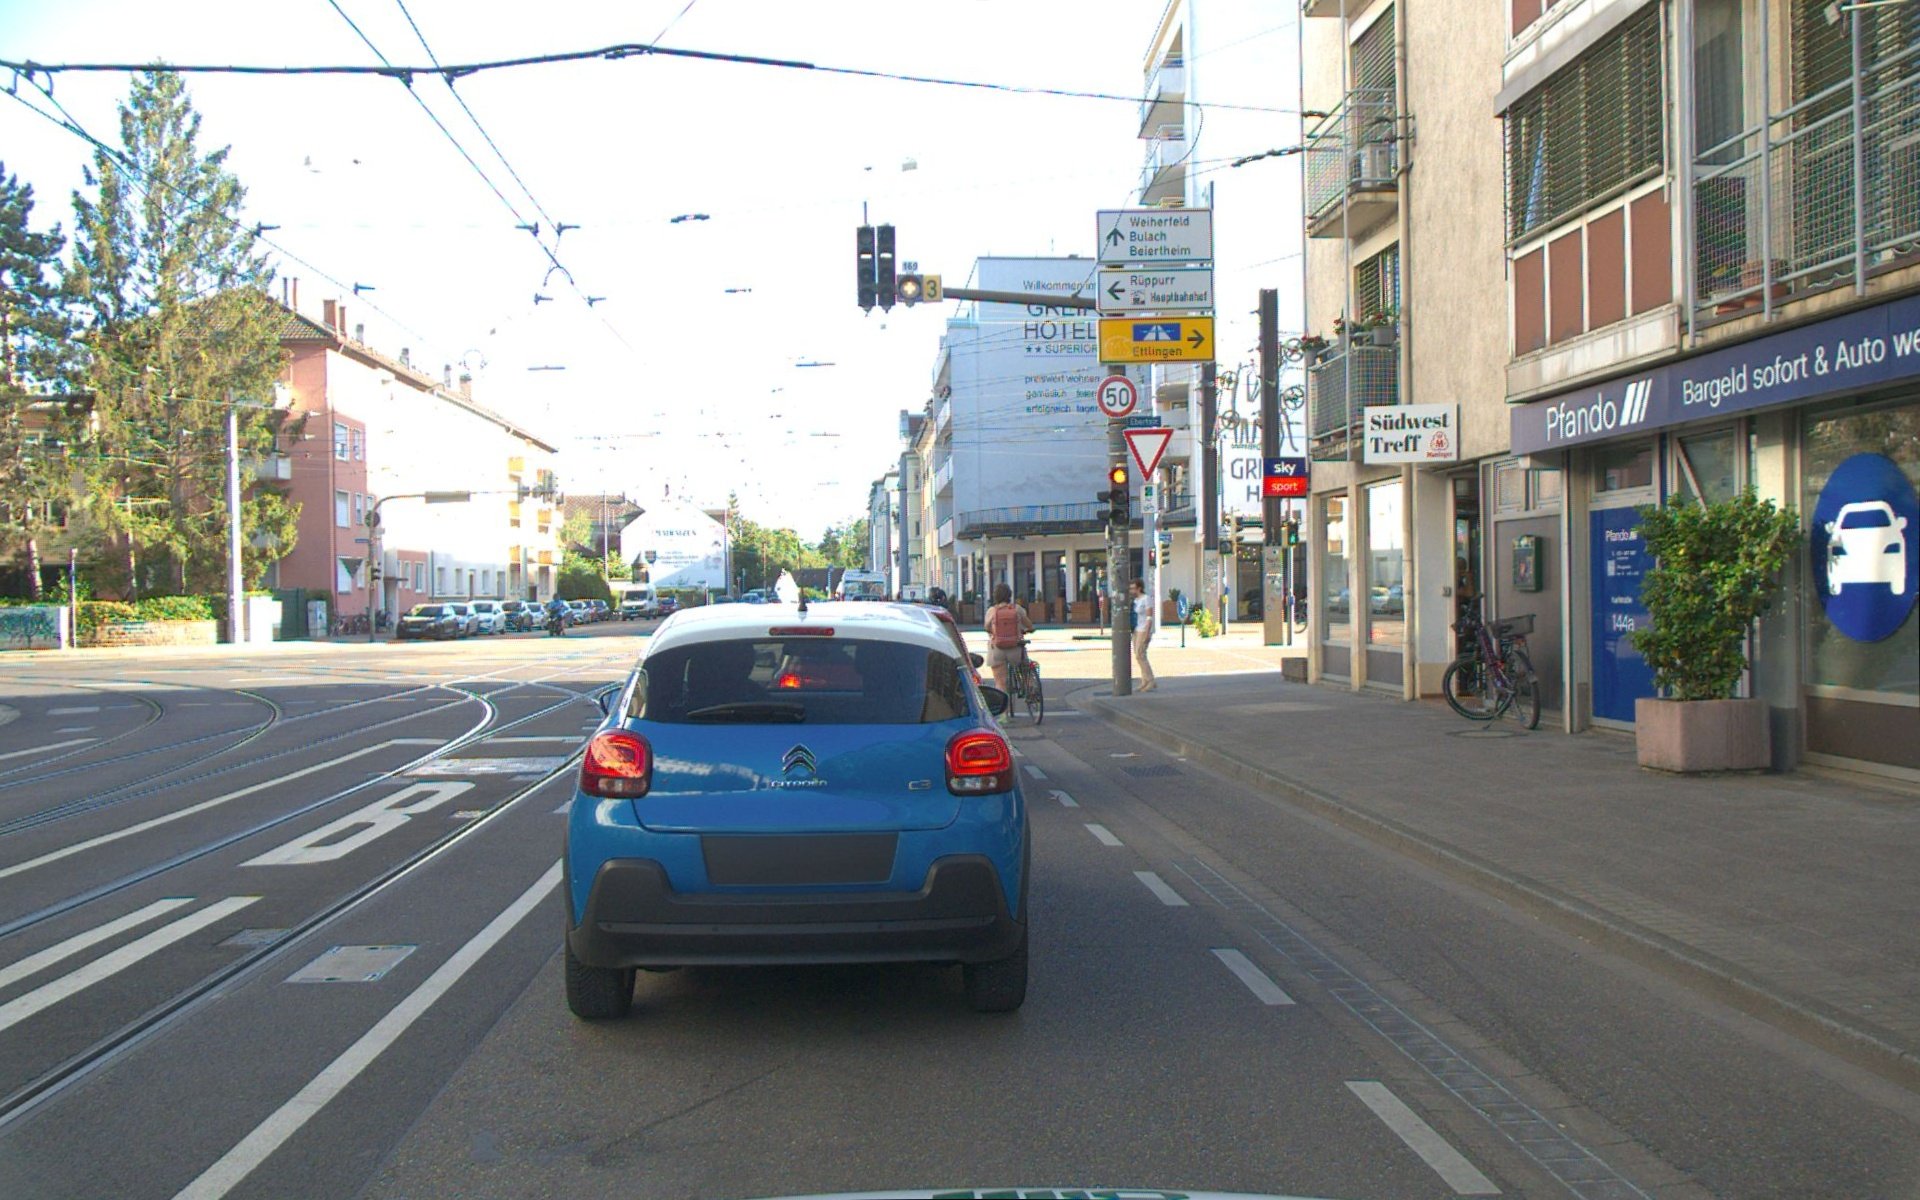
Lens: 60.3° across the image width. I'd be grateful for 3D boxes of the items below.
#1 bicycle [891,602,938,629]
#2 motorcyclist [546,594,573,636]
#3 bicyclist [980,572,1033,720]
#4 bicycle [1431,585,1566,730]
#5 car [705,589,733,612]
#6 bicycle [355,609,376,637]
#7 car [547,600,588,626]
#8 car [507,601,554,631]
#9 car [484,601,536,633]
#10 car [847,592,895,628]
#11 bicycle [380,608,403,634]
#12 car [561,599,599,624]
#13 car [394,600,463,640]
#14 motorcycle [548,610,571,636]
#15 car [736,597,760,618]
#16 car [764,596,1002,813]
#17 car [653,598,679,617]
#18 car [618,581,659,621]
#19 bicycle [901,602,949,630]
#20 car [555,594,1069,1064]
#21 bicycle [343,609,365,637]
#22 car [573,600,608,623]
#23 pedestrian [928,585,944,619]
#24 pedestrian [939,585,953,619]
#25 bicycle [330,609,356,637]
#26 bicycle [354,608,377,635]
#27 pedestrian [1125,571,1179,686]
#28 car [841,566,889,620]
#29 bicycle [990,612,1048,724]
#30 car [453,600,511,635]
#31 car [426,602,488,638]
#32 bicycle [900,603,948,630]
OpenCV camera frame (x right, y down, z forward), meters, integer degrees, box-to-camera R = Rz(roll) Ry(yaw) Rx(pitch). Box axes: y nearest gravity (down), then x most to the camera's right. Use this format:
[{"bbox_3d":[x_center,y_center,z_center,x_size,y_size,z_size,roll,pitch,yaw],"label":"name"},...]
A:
[{"bbox_3d":[-1.862,0.643,68.277,1.868,1.083,0.641,-1,0,-8],"label":"bicycle"},{"bbox_3d":[-16.206,0.607,66.958,0.973,1.659,0.737,-1,0,-10],"label":"motorcyclist"},{"bbox_3d":[0.568,0.556,20.602,0.588,1.776,1.084,-1,0,-1],"label":"bicyclist"},{"bbox_3d":[5.114,0.510,15.826,0.627,1.286,1.910,-1,0,-1],"label":"bicycle"},{"bbox_3d":[-18.379,0.043,126.073,1.967,1.656,5.045,-1,0,-7],"label":"car"},{"bbox_3d":[-24.231,0.935,67.421,0.527,1.101,1.905,-1,0,-11],"label":"bicycle"},{"bbox_3d":[-24.411,0.805,102.995,1.913,1.545,3.995,-1,0,-6],"label":"car"},{"bbox_3d":[-23.766,0.854,91.573,1.913,1.545,3.995,-1,0,-6],"label":"car"},{"bbox_3d":[-23.236,0.838,85.524,1.913,1.545,3.995,-1,0,-6],"label":"car"},{"bbox_3d":[-3.677,0.384,67.746,1.752,1.383,3.909,-1,0,-6],"label":"car"},{"bbox_3d":[-25.674,0.940,74.698,0.597,1.101,1.908,-1,0,-7],"label":"bicycle"},{"bbox_3d":[-24.853,0.746,108.268,1.913,1.545,3.995,-1,0,-6],"label":"car"},{"bbox_3d":[-22.016,0.790,68.656,1.913,1.545,3.995,-1,0,-6],"label":"car"},{"bbox_3d":[-16.227,0.940,67.026,0.738,0.993,2.092,-1,0,-9],"label":"motorcycle"},{"bbox_3d":[-21.816,0.802,170.498,2.293,2.074,5.044,-1,0,-6],"label":"car"},{"bbox_3d":[-0.678,0.731,13.565,1.647,1.488,3.997,1,0,-4],"label":"car"},{"bbox_3d":[-25.579,0.638,144.171,1.913,1.545,3.995,-1,0,-6],"label":"car"},{"bbox_3d":[-23.227,0.064,119.582,2.446,2.759,5.828,-1,0,-7],"label":"car"},{"bbox_3d":[-1.394,0.641,65.786,1.868,1.083,0.641,-1,0,-8],"label":"bicycle"},{"bbox_3d":[-0.611,0.736,7.357,1.647,1.488,3.997,1,0,-4],"label":"car"},{"bbox_3d":[-24.590,0.928,67.122,0.527,1.101,1.905,-1,0,-11],"label":"bicycle"},{"bbox_3d":[-25.570,0.785,114.599,1.913,1.545,3.995,-1,0,-6],"label":"car"},{"bbox_3d":[-1.012,0.090,70.244,0.514,1.445,0.547,-1,0,19],"label":"pedestrian"},{"bbox_3d":[-0.586,0.085,69.999,0.459,1.445,0.525,-1,0,-13],"label":"pedestrian"},{"bbox_3d":[-24.983,0.918,66.997,0.628,1.101,1.905,-1,0,-11],"label":"bicycle"},{"bbox_3d":[-25.876,0.926,71.992,0.527,1.101,1.908,-1,0,-7],"label":"bicycle"},{"bbox_3d":[2.826,0.416,24.414,0.735,1.663,0.740,-1,0,5],"label":"pedestrian"},{"bbox_3d":[-4.233,-0.318,73.184,2.039,2.309,5.646,0,0,-4],"label":"car"},{"bbox_3d":[0.722,0.818,20.643,0.601,1.286,1.910,-1,0,-1],"label":"bicycle"},{"bbox_3d":[-22.758,0.819,78.867,1.913,1.545,3.995,-1,0,-6],"label":"car"},{"bbox_3d":[-22.555,0.875,74.261,1.913,1.545,4.040,-1,0,-6],"label":"car"},{"bbox_3d":[-1.447,0.666,67.091,1.868,1.083,0.641,-1,0,-8],"label":"bicycle"}]
